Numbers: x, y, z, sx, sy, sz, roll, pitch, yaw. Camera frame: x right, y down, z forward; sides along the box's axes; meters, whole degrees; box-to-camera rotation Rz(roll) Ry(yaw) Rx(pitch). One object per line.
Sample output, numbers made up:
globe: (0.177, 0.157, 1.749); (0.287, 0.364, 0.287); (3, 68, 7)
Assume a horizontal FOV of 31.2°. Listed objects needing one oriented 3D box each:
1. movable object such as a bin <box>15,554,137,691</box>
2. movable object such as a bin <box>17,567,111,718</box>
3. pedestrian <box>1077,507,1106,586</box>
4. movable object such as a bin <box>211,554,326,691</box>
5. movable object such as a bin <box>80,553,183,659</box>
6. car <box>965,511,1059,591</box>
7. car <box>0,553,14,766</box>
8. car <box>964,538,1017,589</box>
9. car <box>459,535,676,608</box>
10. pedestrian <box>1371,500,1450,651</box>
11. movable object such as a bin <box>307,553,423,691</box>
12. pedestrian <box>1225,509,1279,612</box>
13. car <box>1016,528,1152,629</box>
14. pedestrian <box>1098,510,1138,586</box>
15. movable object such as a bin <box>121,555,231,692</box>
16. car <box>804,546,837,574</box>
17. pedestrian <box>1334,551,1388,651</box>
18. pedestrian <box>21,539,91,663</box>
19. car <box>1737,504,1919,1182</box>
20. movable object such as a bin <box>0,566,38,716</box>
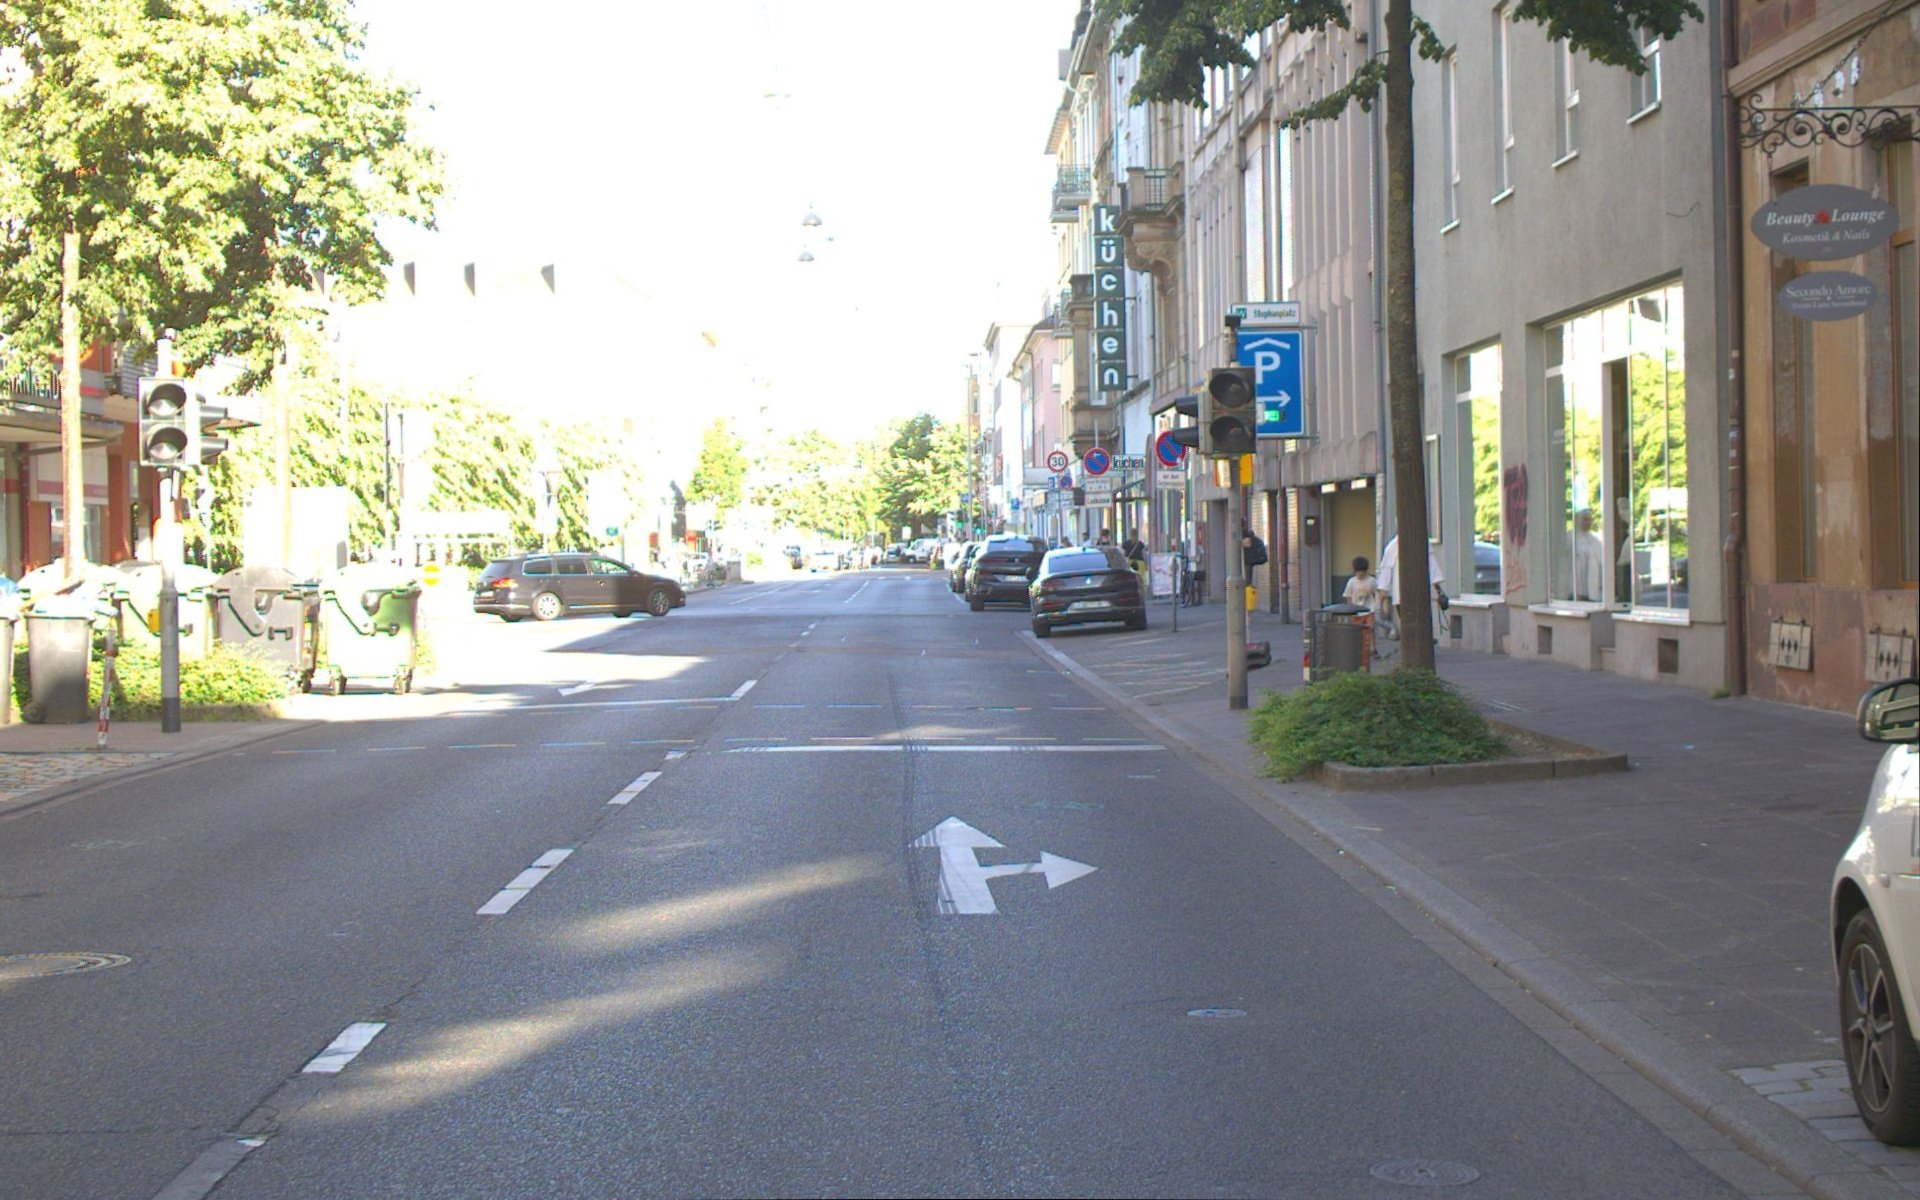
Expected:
movable object such as a bin: (-9.785, 0.235, 38.095); (1.042, 1.466, 1.143); (-1, 1, -2)
movable object such as a bin: (-8.146, 0.377, 31.282); (0.634, 1.336, 0.805); (-1, 1, -2)
pedestrian: (2.969, -1.212, 77.843); (0.620, 1.760, 0.518); (-1, 1, 2)
movable object such as a bin: (-7.671, 0.242, 38.160); (1.042, 1.466, 1.143); (-1, 1, -2)
movable object such as a bin: (-10.871, 0.065, 45.155); (1.042, 1.340, 1.314); (-1, 1, -2)
car: (1.127, -1.117, 76.739); (1.973, 1.719, 4.824); (0, 1, -1)
car: (-8.741, 0.432, 23.217); (4.203, 1.463, 1.740); (0, 1, 1)
car: (0.944, -1.140, 107.324); (1.613, 1.541, 2.855); (0, 1, 0)
car: (-8.381, -0.631, 73.591); (4.259, 1.482, 1.940); (-1, 1, -41)
pedestrian: (4.800, -0.267, 36.693); (0.580, 1.554, 1.021); (-4, 1, -2)
movable object such as a bin: (-6.599, 0.230, 38.178); (1.042, 1.466, 1.453); (-1, 1, -2)
pedestrian: (4.760, -0.650, 56.046); (0.691, 1.630, 0.889); (-3, 1, -1)
car: (2.017, -0.394, 57.352); (1.917, 1.473, 4.965); (-5, 1, -1)
pedestrian: (3.576, -1.181, 77.800); (0.801, 1.669, 0.589); (-3, 1, 2)
movable object such as a bin: (-8.685, 0.250, 38.120); (0.964, 1.466, 1.143); (-1, 1, -2)
car: (-9.283, -2.666, 228.242); (1.993, 1.765, 4.000); (0, 2, 0)
pedestrian: (4.261, 0.005, 36.584); (0.393, 1.030, 0.740); (-4, 1, -2)
pedestrian: (-12.320, 0.002, 46.882); (0.665, 1.653, 1.037); (-1, 1, -1)
car: (2.944, 0.517, 7.599); (1.613, 1.523, 3.061); (-3, 1, -2)
movable object such as a bin: (-8.867, 0.372, 31.233); (0.754, 1.336, 0.805); (-1, 1, -2)
